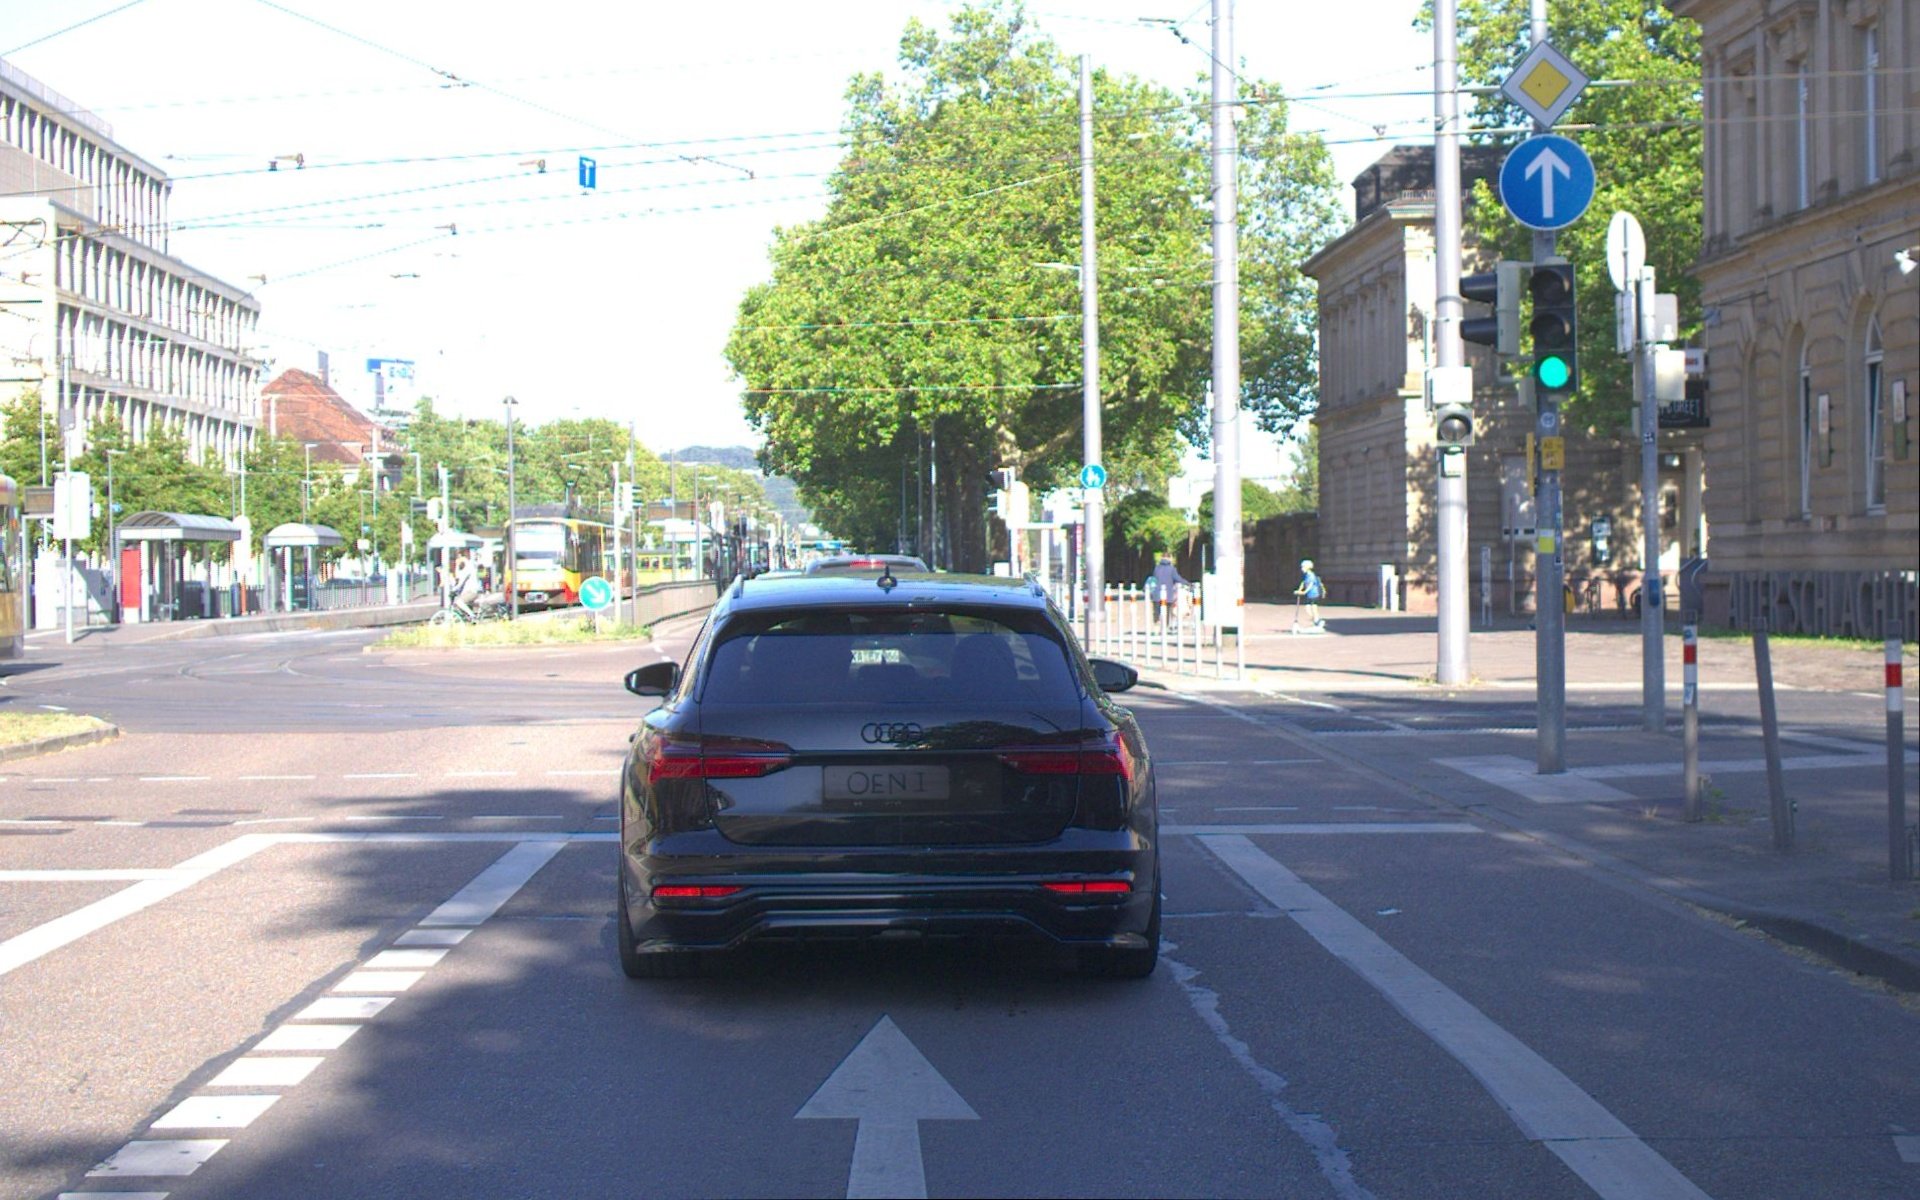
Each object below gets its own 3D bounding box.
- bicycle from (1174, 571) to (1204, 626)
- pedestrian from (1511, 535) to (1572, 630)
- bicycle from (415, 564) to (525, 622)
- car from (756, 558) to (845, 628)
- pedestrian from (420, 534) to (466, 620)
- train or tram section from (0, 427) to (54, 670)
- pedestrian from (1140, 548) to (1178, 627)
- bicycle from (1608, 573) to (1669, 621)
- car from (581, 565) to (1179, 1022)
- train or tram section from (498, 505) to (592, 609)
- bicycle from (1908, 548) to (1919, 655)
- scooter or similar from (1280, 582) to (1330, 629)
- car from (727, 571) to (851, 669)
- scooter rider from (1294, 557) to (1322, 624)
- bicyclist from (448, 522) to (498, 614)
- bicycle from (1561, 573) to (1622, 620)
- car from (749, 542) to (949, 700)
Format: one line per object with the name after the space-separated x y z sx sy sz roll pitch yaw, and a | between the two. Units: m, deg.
4.801 -0.037 72.111 0.434 1.141 1.340 -1 1 -4 | bicycle
11.583 -0.356 68.526 0.979 1.859 0.827 -1 1 -8 | pedestrian
-9.744 -0.152 68.360 2.005 1.104 0.765 -1 1 -25 | bicycle
-3.545 -0.179 76.933 1.902 1.481 4.145 0 1 -1 | car
-10.495 -0.473 69.817 0.740 1.735 0.664 -1 1 -26 | pedestrian
-15.040 -0.689 46.275 2.813 3.477 12.155 -1 1 -2 | train or tram section
4.175 -0.266 72.067 0.682 1.655 0.758 -1 1 -4 | pedestrian
15.280 -0.076 77.440 0.526 1.043 2.360 -1 1 -10 | bicycle
-0.307 0.599 13.035 1.902 1.417 4.145 0 1 -1 | car
-14.520 -1.523 120.907 2.608 3.439 11.134 -1 1 -4 | train or tram section
11.854 -0.020 38.664 2.136 1.205 0.765 -2 1 -3 | bicycle
7.182 0.116 71.577 0.938 0.963 0.361 -2 0 -4 | scooter or similar
-2.738 0.299 55.727 1.902 1.481 4.145 0 1 -1 | car
7.250 -0.199 71.572 0.484 1.381 0.377 -2 0 -4 | scooter rider
-9.690 -0.636 68.419 0.756 1.812 0.765 -1 1 -24 | bicyclist
14.214 -0.088 77.432 0.526 1.043 2.360 -1 1 -10 | bicycle
-1.107 0.166 34.749 1.902 1.481 4.145 0 1 -1 | car
